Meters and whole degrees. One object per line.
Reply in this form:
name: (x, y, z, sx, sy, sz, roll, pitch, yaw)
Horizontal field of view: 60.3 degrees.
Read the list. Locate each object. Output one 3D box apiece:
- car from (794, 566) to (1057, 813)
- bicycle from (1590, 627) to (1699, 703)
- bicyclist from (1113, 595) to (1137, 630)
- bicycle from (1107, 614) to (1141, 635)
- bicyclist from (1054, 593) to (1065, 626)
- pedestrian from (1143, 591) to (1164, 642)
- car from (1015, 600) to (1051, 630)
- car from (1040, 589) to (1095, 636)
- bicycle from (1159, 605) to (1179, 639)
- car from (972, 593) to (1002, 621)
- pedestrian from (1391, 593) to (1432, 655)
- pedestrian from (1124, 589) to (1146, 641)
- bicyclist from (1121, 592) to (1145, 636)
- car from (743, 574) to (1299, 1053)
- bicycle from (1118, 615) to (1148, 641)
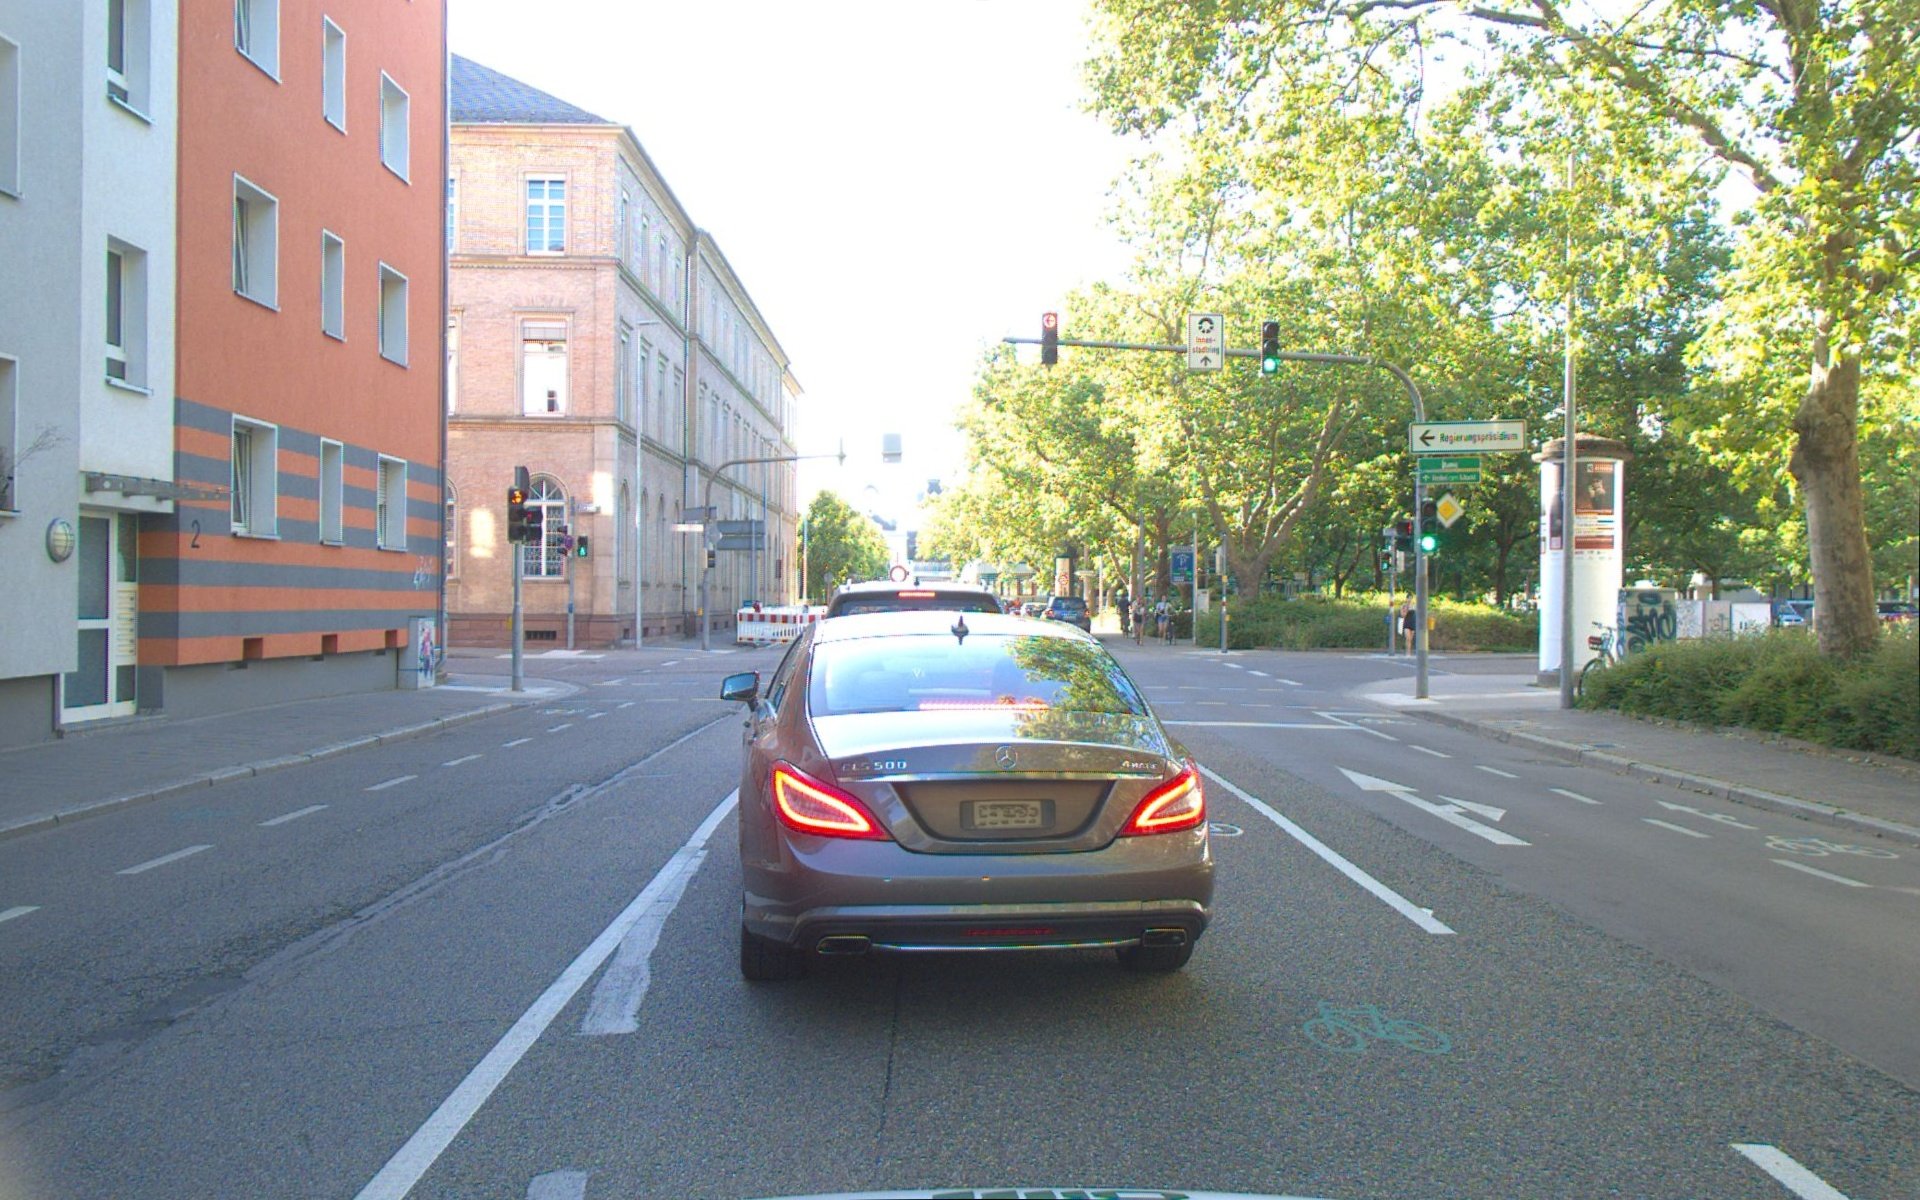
car: (-0.269, 0.621, 13.589, 1.823, 1.712, 3.999, 1, 0, -1)
bicycle: (9.871, 0.924, 23.835, 1.868, 1.046, 0.633, 1, -1, -39)
bicyclist: (6.689, 0.509, 67.075, 0.719, 1.422, 0.697, 1, -1, 28)
bicycle: (6.670, 0.990, 67.083, 0.709, 0.805, 1.925, 1, 0, 27)
bicyclist: (6.315, 0.612, 105.043, 0.583, 2.075, 0.565, 1, -1, -5)
pedestrian: (6.916, 0.578, 59.102, 0.623, 1.791, 0.698, 1, -1, -5)
car: (3.894, 0.789, 88.460, 1.670, 1.545, 3.999, 1, 0, -1)
car: (4.295, 0.489, 66.665, 1.823, 1.794, 4.481, 1, 0, -1)
bicycle: (7.467, 0.781, 59.240, 0.472, 1.223, 1.606, 1, 0, -1)
car: (1.678, 0.416, 104.068, 1.696, 1.691, 3.680, 1, 0, -1)
pedestrian: (11.559, 0.615, 42.326, 0.625, 1.572, 0.906, 1, -1, -15)
pedestrian: (6.243, 0.530, 59.015, 0.623, 1.828, 0.698, 1, -1, -5)
bicyclist: (6.652, 0.545, 63.575, 0.808, 1.646, 0.957, 1, 0, -1)
car: (-0.033, 0.691, 7.461, 1.826, 1.545, 3.993, 1, 0, -8)
bicycle: (6.641, 1.056, 63.659, 0.811, 0.940, 2.616, 1, 0, -1)
